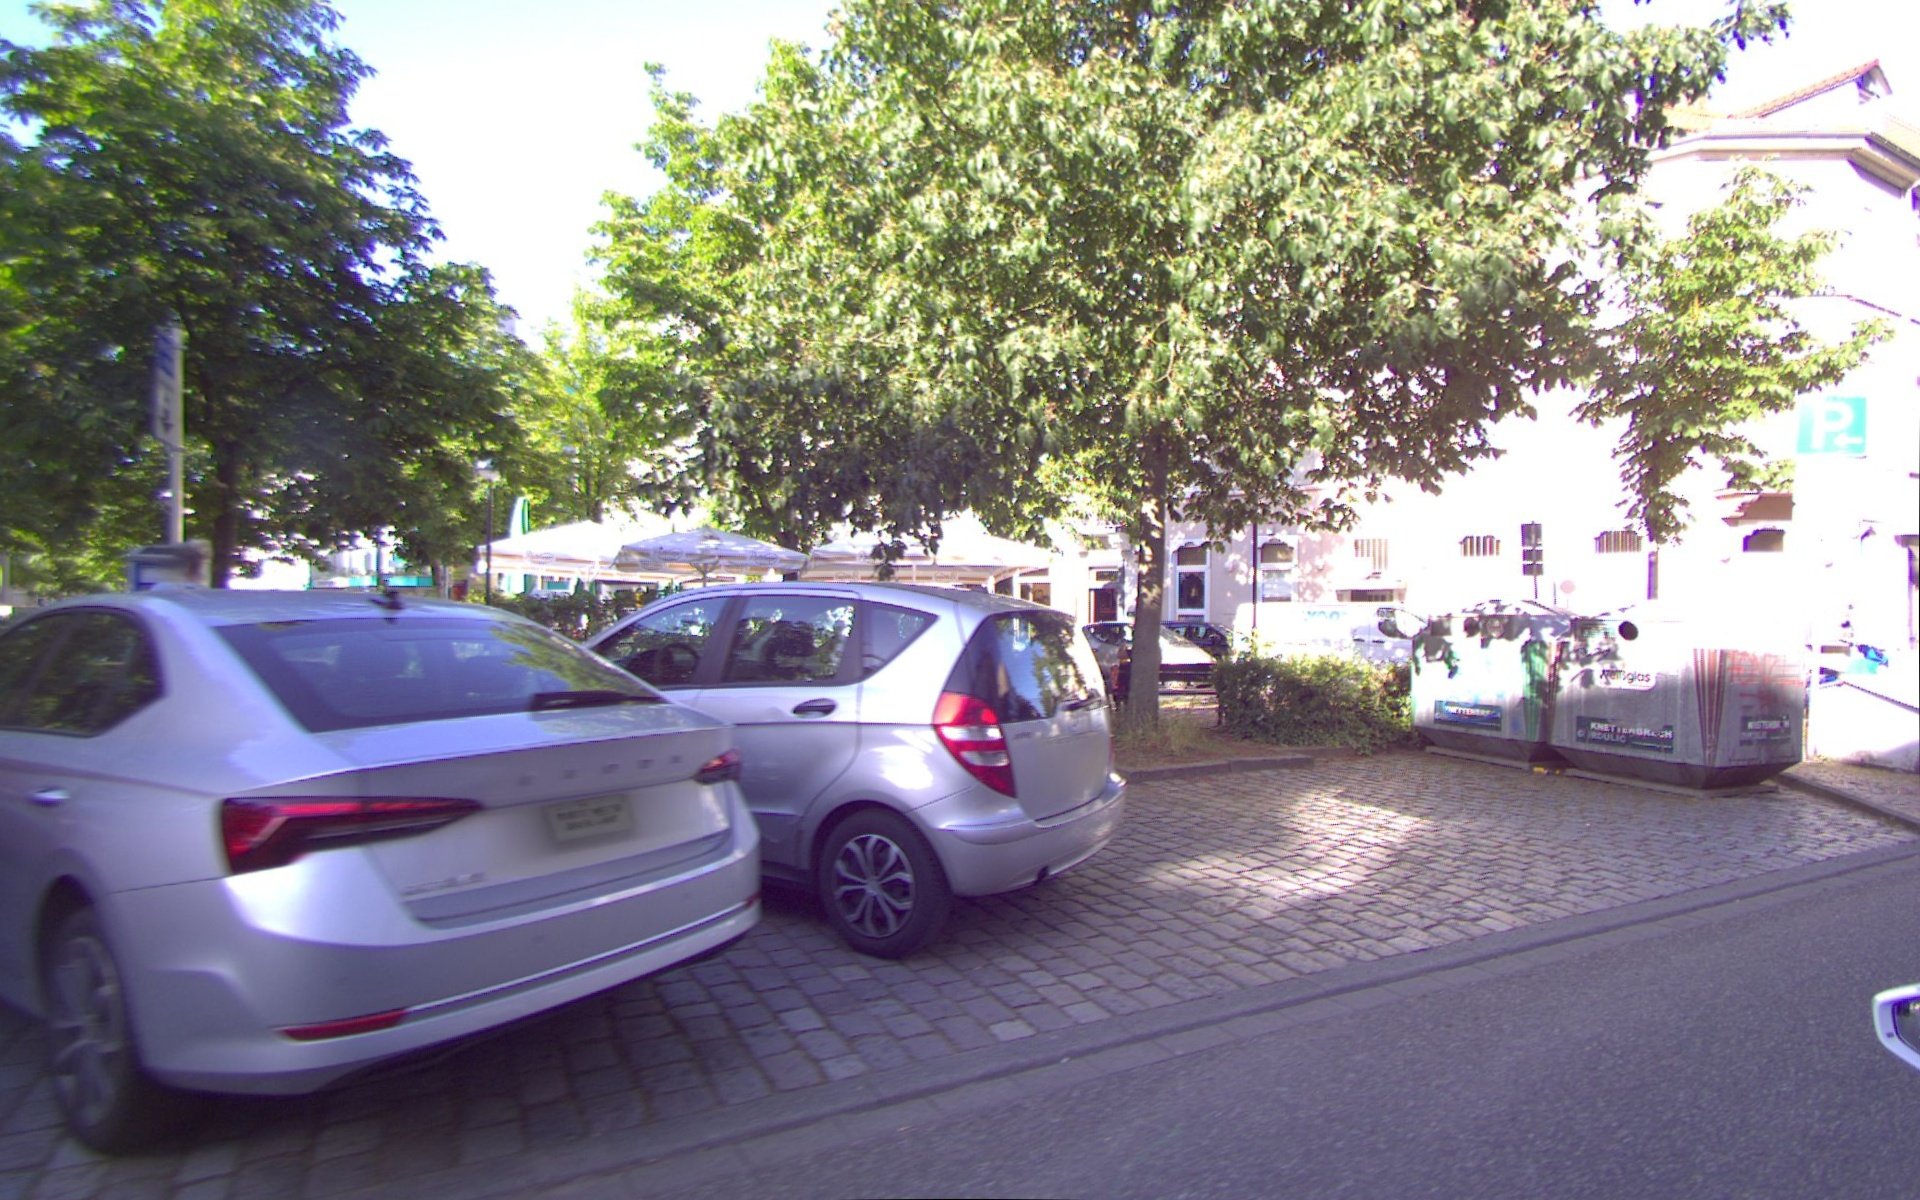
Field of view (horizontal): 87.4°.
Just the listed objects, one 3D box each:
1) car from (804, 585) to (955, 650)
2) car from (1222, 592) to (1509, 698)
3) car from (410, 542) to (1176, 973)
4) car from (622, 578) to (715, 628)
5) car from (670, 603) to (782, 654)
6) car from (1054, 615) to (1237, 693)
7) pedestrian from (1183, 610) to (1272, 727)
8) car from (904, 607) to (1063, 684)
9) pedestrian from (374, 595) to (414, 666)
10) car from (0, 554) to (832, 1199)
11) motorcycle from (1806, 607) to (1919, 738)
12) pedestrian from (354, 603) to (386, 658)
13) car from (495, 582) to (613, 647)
[{"bbox_3d":[-2.954,0.583,36.023,5.502,2.040,1.812,2,0,35],"label":"car"},{"bbox_3d":[8.415,0.857,21.065,5.193,1.824,2.157,2,0,35],"label":"car"},{"bbox_3d":[-1.012,0.564,5.619,3.929,1.607,1.827,3,0,30],"label":"car"},{"bbox_3d":[-13.457,0.110,46.249,4.763,2.039,1.545,2,-4,40],"label":"car"},{"bbox_3d":[-9.574,1.137,40.828,4.799,1.828,1.900,2,0,40],"label":"car"},{"bbox_3d":[4.431,1.245,24.232,3.859,1.585,1.972,2,0,39],"label":"car"},{"bbox_3d":[3.139,0.780,11.779,0.779,1.283,0.658,2,0,38],"label":"pedestrian"},{"bbox_3d":[0.603,1.185,27.160,3.859,1.794,1.972,2,0,39],"label":"car"},{"bbox_3d":[-12.869,0.680,22.856,0.548,1.567,0.672,2,0,-11],"label":"pedestrian"},{"bbox_3d":[-2.683,0.620,3.801,4.161,1.496,1.732,3,0,32],"label":"car"},{"bbox_3d":[12.314,0.910,12.664,0.982,1.625,2.476,1,-2,-10],"label":"motorcycle"},{"bbox_3d":[-13.977,0.715,23.806,0.553,1.253,0.666,2,0,-36],"label":"pedestrian"},{"bbox_3d":[-16.215,0.532,39.975,5.270,2.345,1.992,2,0,39],"label":"car"}]
